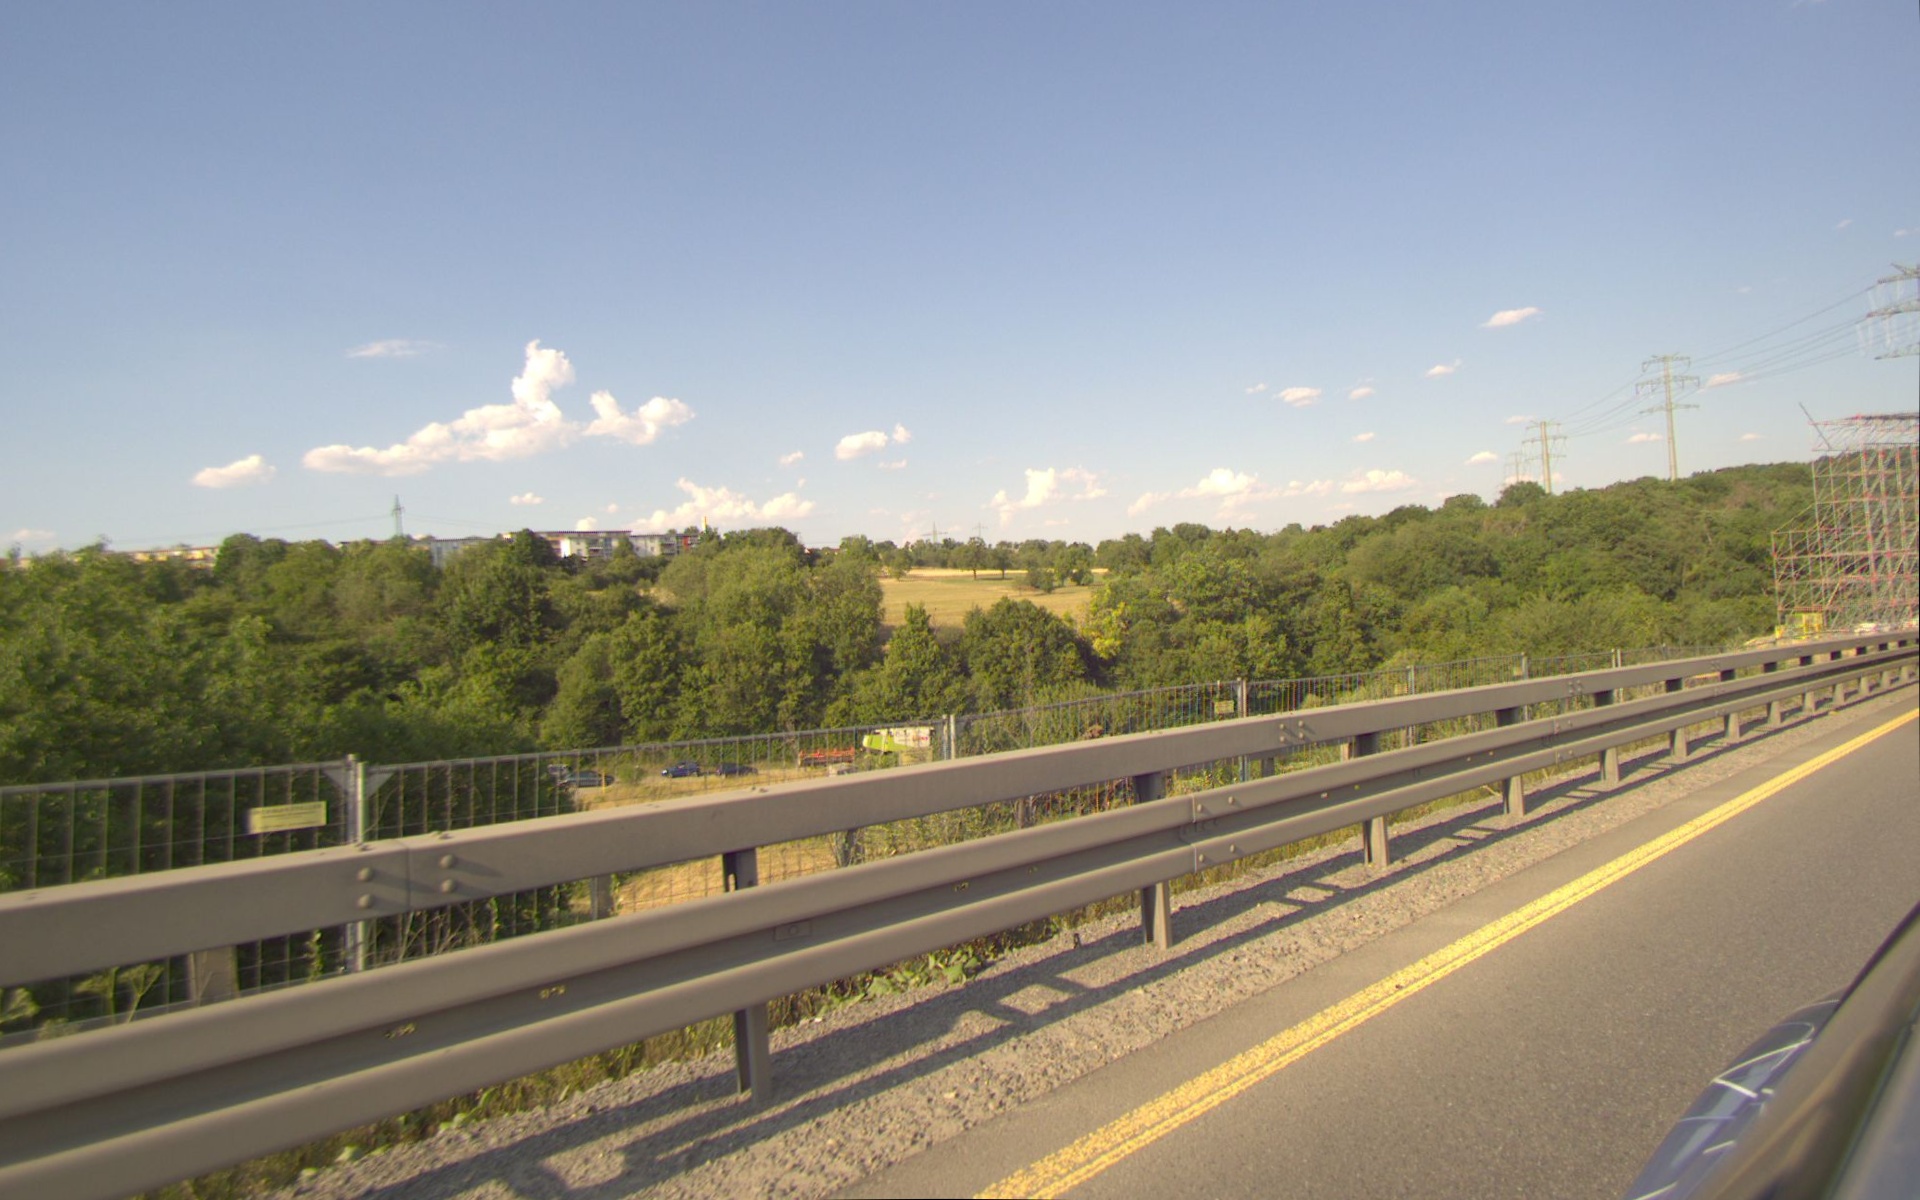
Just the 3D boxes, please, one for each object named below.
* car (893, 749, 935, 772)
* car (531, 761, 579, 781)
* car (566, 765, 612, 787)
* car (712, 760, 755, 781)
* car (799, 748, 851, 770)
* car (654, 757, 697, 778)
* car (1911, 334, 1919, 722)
[{"bbox_3d":[-4.682,16.400,103.607,4.019,1.857,1.686,0,1,-16],"label":"car"},{"bbox_3d":[-39.131,16.517,97.820,4.020,1.573,1.686,0,1,-12],"label":"car"},{"bbox_3d":[-34.914,16.596,95.345,4.019,1.573,1.686,0,1,-16],"label":"car"},{"bbox_3d":[-22.124,16.617,98.824,4.020,1.573,1.686,0,1,-11],"label":"car"},{"bbox_3d":[-13.499,15.917,101.359,5.024,1.858,1.711,0,1,-11],"label":"car"},{"bbox_3d":[-28.220,16.585,100.434,4.019,1.573,1.686,0,1,-16],"label":"car"},{"bbox_3d":[14.245,-0.776,12.466,8.136,4.167,2.856,0,1,-41],"label":"car"}]
